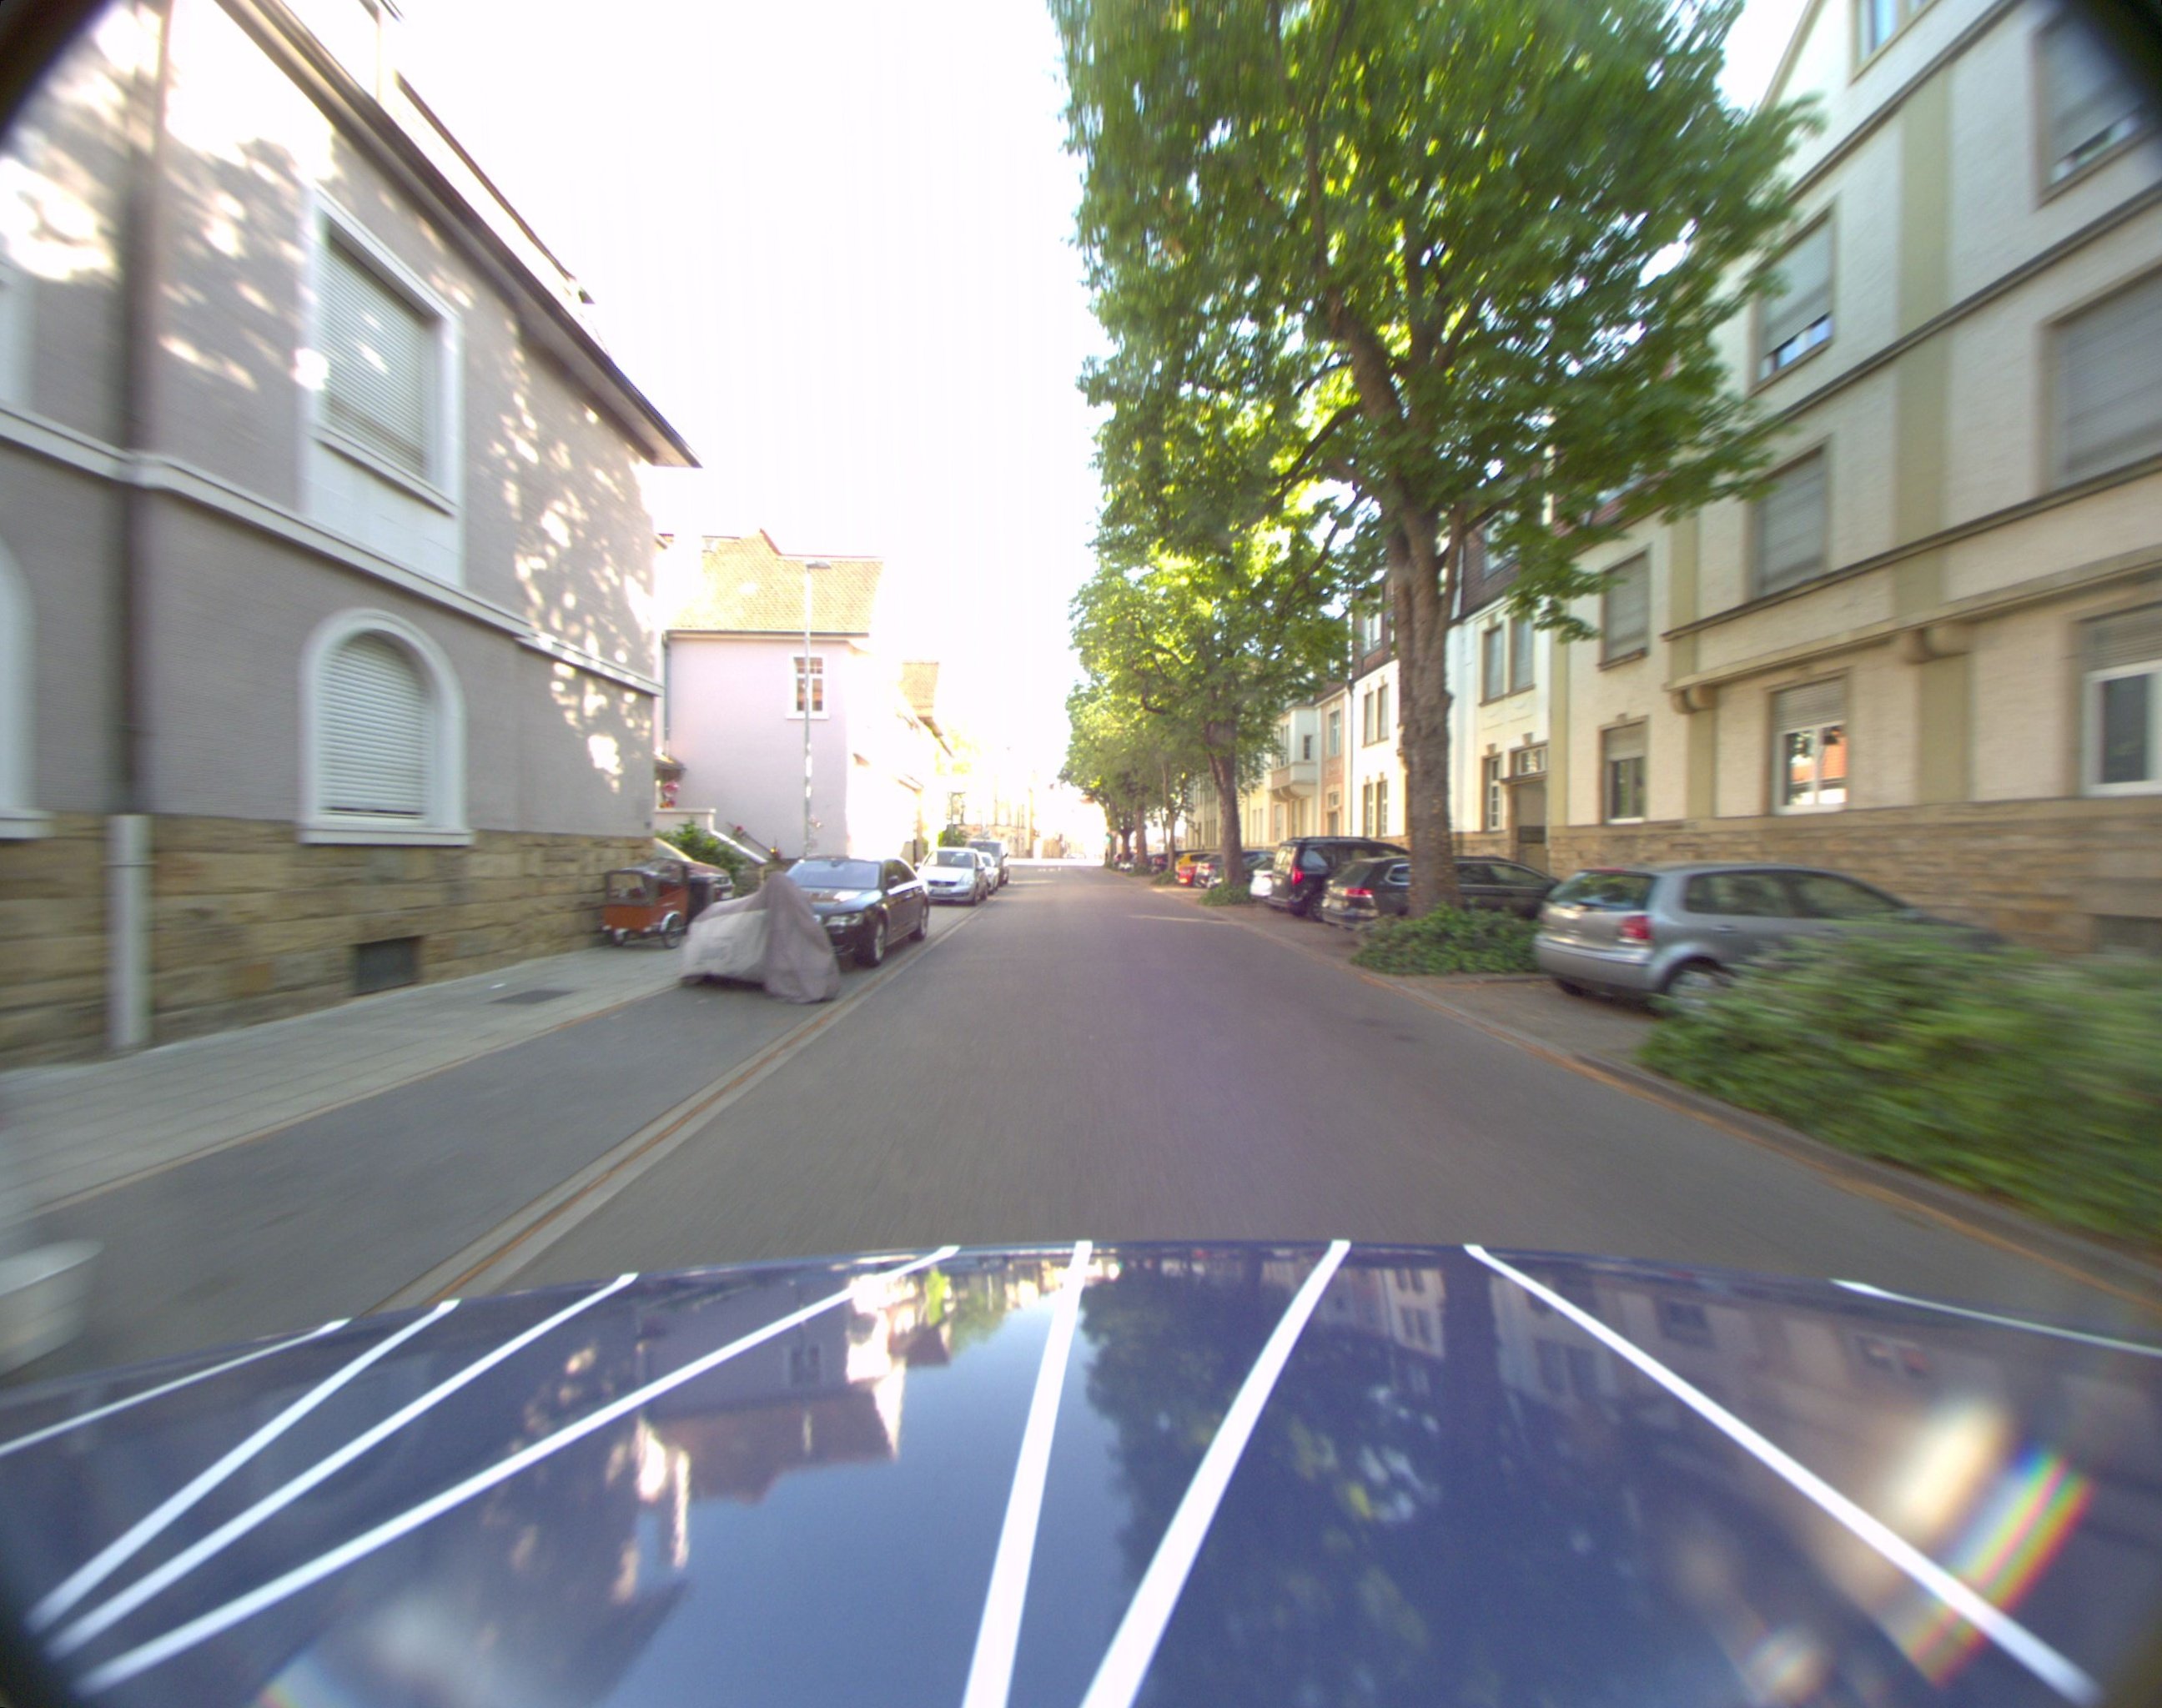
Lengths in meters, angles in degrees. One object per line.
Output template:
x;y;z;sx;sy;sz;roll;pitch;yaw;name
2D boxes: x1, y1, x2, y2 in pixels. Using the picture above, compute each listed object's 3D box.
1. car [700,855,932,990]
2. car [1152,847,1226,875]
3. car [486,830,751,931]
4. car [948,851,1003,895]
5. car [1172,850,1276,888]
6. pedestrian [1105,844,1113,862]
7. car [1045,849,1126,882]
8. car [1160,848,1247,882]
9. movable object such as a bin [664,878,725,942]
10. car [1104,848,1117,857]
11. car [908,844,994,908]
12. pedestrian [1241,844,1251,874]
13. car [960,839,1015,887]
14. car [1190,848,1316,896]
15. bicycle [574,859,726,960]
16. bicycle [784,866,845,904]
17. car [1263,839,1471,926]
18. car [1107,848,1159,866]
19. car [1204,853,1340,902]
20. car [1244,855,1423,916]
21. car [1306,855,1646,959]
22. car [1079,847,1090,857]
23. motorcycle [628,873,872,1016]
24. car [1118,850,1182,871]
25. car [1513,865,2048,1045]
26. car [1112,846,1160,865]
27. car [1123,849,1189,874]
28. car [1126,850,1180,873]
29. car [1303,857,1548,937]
-3.585;0.814;11.291;1.859;1.484;4.606;2;1;-1;car
6.171;0.393;43.876;3.997;1.499;1.722;1;1;0;car
-9.049;0.489;15.146;4.150;1.832;1.764;1;2;-2;car
-3.790;0.633;27.798;1.684;1.449;4.436;1;1;-4;car
5.907;0.595;31.770;3.998;1.506;1.746;0;2;-2;car
2.633;-0.110;71.463;0.695;1.672;0.680;1;1;9;pedestrian
0.211;0.566;38.549;3.997;1.557;1.863;-1;1;0;car
5.762;0.500;35.960;3.800;1.453;1.863;-1;1;0;car
-6.634;0.949;13.082;0.649;1.034;0.828;1;1;-4;movable object such as a bin
5.872;-0.343;152.029;1.916;1.649;4.350;-3;0;11;car
-3.696;0.576;22.273;1.794;1.591;3.999;3;1;-1;car
9.373;0.267;43.148;0.461;1.648;0.895;0;1;6;pedestrian
-4.058;0.340;33.689;1.870;1.905;4.781;2;1;-1;car
5.997;0.606;26.861;3.998;1.583;1.858;-1;1;-2;car
-6.409;0.774;11.500;1.085;1.330;2.249;1;1;-3;bicycle
-7.827;0.908;22.334;1.641;1.094;0.395;0;1;-4;bicycle
6.324;0.587;17.103;3.990;1.845;1.828;0;1;-3;car
4.151;0.259;60.655;3.895;1.407;1.614;0;1;-8;car
6.013;0.713;24.267;3.911;1.438;1.859;-1;1;3;car
6.389;0.773;19.498;3.999;1.439;1.741;0;1;-5;car
6.208;0.783;12.312;4.544;1.494;1.891;0;1;-3;car
0.741;-0.373;167.692;1.832;2.022;3.823;-2;-1;10;car
-3.467;0.910;8.079;2.197;1.331;0.922;1;1;7;motorcycle
4.766;0.451;52.920;4.223;1.341;1.702;0;2;-2;car
6.474;0.870;7.325;3.684;1.479;1.641;0;1;-2;car
4.635;0.127;64.040;3.893;1.467;1.614;1;1;-2;car
4.708;0.476;48.262;3.997;1.474;1.785;-1;1;0;car
4.779;0.465;50.879;3.442;1.444;1.703;0;2;0;car
6.665;0.791;14.980;3.991;1.429;1.828;0;1;-4;car
